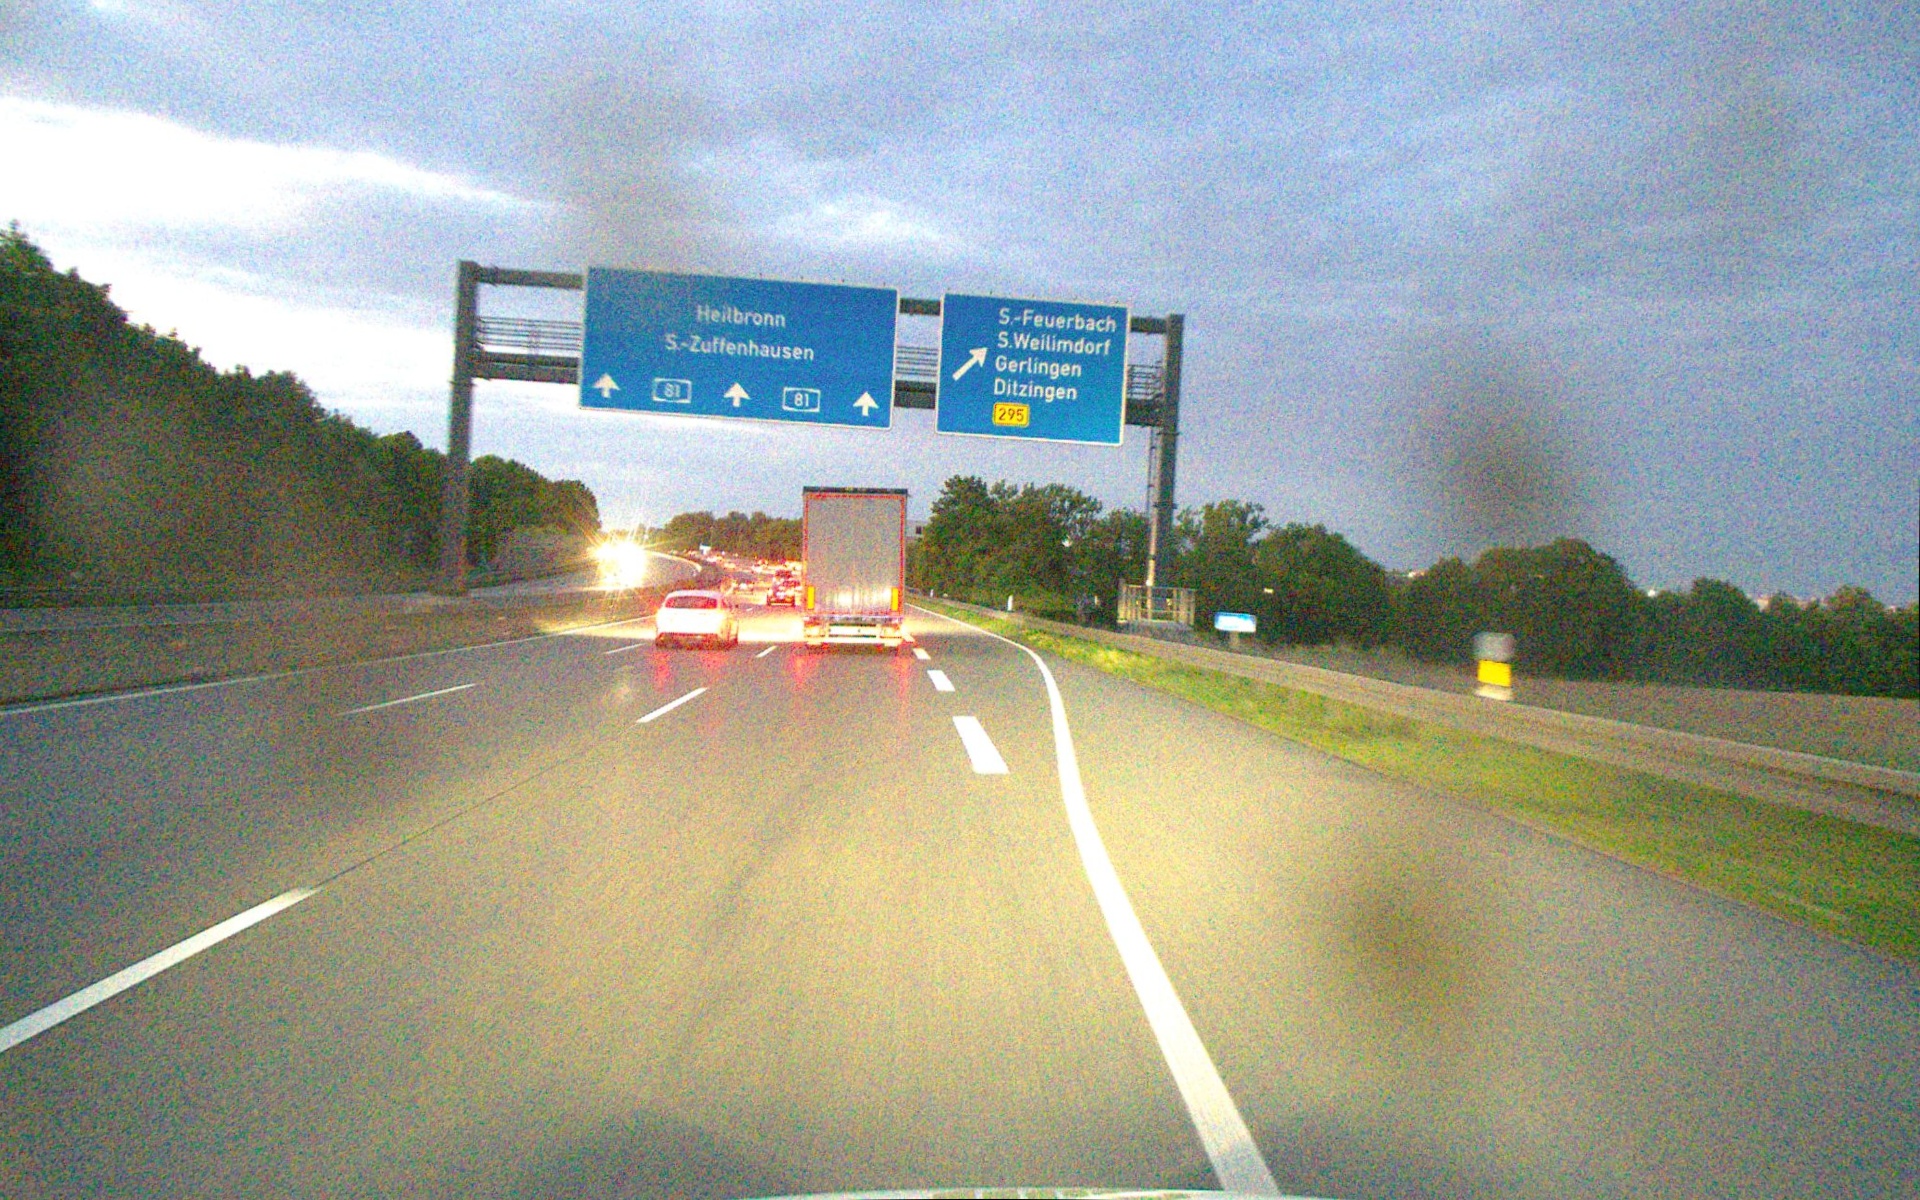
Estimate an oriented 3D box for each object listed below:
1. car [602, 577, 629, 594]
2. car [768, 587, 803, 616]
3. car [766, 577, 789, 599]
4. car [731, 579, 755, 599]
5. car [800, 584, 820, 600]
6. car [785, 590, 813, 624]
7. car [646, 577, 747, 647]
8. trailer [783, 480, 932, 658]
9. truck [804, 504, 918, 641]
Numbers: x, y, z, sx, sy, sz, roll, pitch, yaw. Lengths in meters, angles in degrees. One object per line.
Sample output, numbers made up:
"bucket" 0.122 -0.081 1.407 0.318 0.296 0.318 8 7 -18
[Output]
"car" -32.997 -1.382 158.516 1.954 1.444 4.149 2 0 -4
"car" -11.306 0.138 107.299 2.024 1.715 4.573 2 -1 -4
"car" -18.613 -1.221 168.960 1.953 2.049 3.998 2 -1 -2
"car" -19.196 -0.935 146.449 1.727 1.602 4.572 2 -1 -4
"car" -15.572 -0.802 171.933 1.955 1.561 3.994 2 -1 -6
"car" -12.157 0.574 124.827 1.956 2.422 3.993 2 -1 -7
"car" -6.681 0.342 42.387 1.868 1.642 4.801 2 -1 -2
"trailer" -2.813 -0.794 46.657 3.479 4.188 15.054 1 0 -3
"truck" -3.198 -0.860 53.921 3.480 4.162 6.148 1 0 -3
